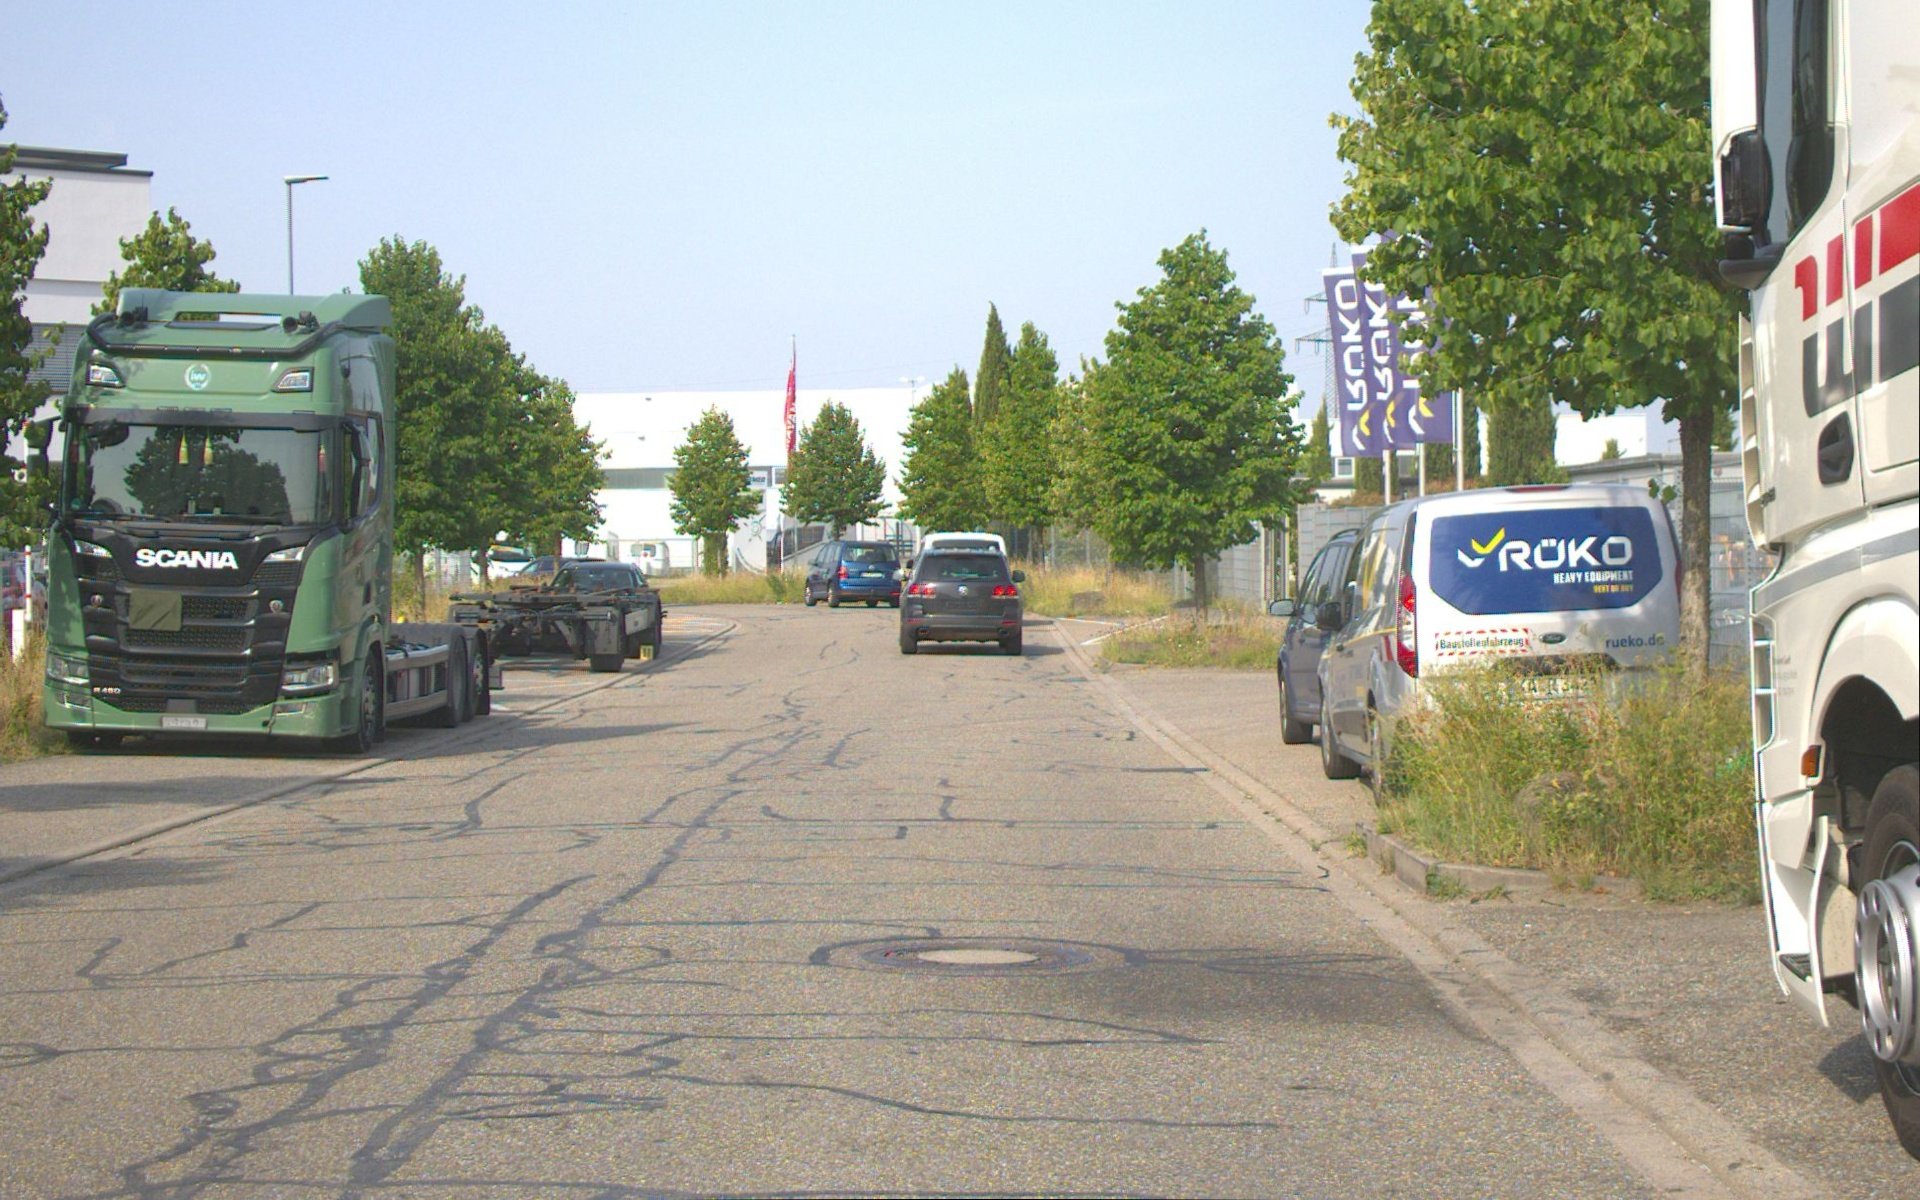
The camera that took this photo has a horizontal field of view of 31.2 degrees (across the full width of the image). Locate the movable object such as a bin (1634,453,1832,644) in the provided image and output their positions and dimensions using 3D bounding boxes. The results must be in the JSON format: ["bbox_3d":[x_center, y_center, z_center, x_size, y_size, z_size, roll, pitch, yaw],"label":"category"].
[{"bbox_3d":[11.781,-0.799,52.721,1.887,2.742,5.160,-1,1,1],"label":"movable object such as a bin"}]

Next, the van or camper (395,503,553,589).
[{"bbox_3d":[-17.154,-1.906,121.001,2.331,2.933,6.969,-1,1,-37],"label":"van or camper"}]

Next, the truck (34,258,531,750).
[{"bbox_3d":[-5.995,-0.795,32.215,2.455,3.868,9.802,1,0,1],"label":"truck"}]

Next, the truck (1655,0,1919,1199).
[{"bbox_3d":[3.361,-0.681,4.609,2.745,4.001,9.687,-3,1,0],"label":"truck"}]

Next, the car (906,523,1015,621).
[{"bbox_3d":[-0.031,-0.590,69.650,1.993,1.893,4.468,-1,1,-2],"label":"car"}]

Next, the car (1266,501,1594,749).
[{"bbox_3d":[3.464,0.166,26.078,1.826,1.714,4.249,0,0,-1],"label":"car"}]

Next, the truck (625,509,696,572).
[{"bbox_3d":[-13.752,-2.736,158.436,2.450,2.816,8.002,0,1,1],"label":"truck"}]

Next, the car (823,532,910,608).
[{"bbox_3d":[-2.270,-0.761,84.412,1.993,1.798,4.000,1,1,0],"label":"car"}]

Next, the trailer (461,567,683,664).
[{"bbox_3d":[-5.761,0.180,52.016,2.130,1.228,7.157,1,1,3],"label":"trailer"}]

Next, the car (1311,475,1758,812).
[{"bbox_3d":[3.296,0.226,20.619,1.993,1.783,4.599,0,0,1],"label":"car"}]

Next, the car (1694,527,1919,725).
[{"bbox_3d":[8.246,0.161,27.620,4.224,1.490,1.900,-1,2,-3],"label":"car"}]

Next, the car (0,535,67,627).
[{"bbox_3d":[-17.468,-0.361,62.299,1.770,1.520,4.305,-1,2,-5],"label":"car"}]

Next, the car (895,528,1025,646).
[{"bbox_3d":[0.009,-0.240,55.243,1.993,1.798,4.000,1,1,0],"label":"car"}]

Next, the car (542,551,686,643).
[{"bbox_3d":[-5.988,-0.088,59.925,1.993,1.461,4.432,1,2,1],"label":"car"}]

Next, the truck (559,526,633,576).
[{"bbox_3d":[-16.734,-2.284,158.517,2.450,2.257,8.002,0,1,1],"label":"truck"}]

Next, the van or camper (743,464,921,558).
[{"bbox_3d":[-4.110,-2.763,108.563,2.349,2.838,7.342,-1,1,-31],"label":"van or camper"}]
